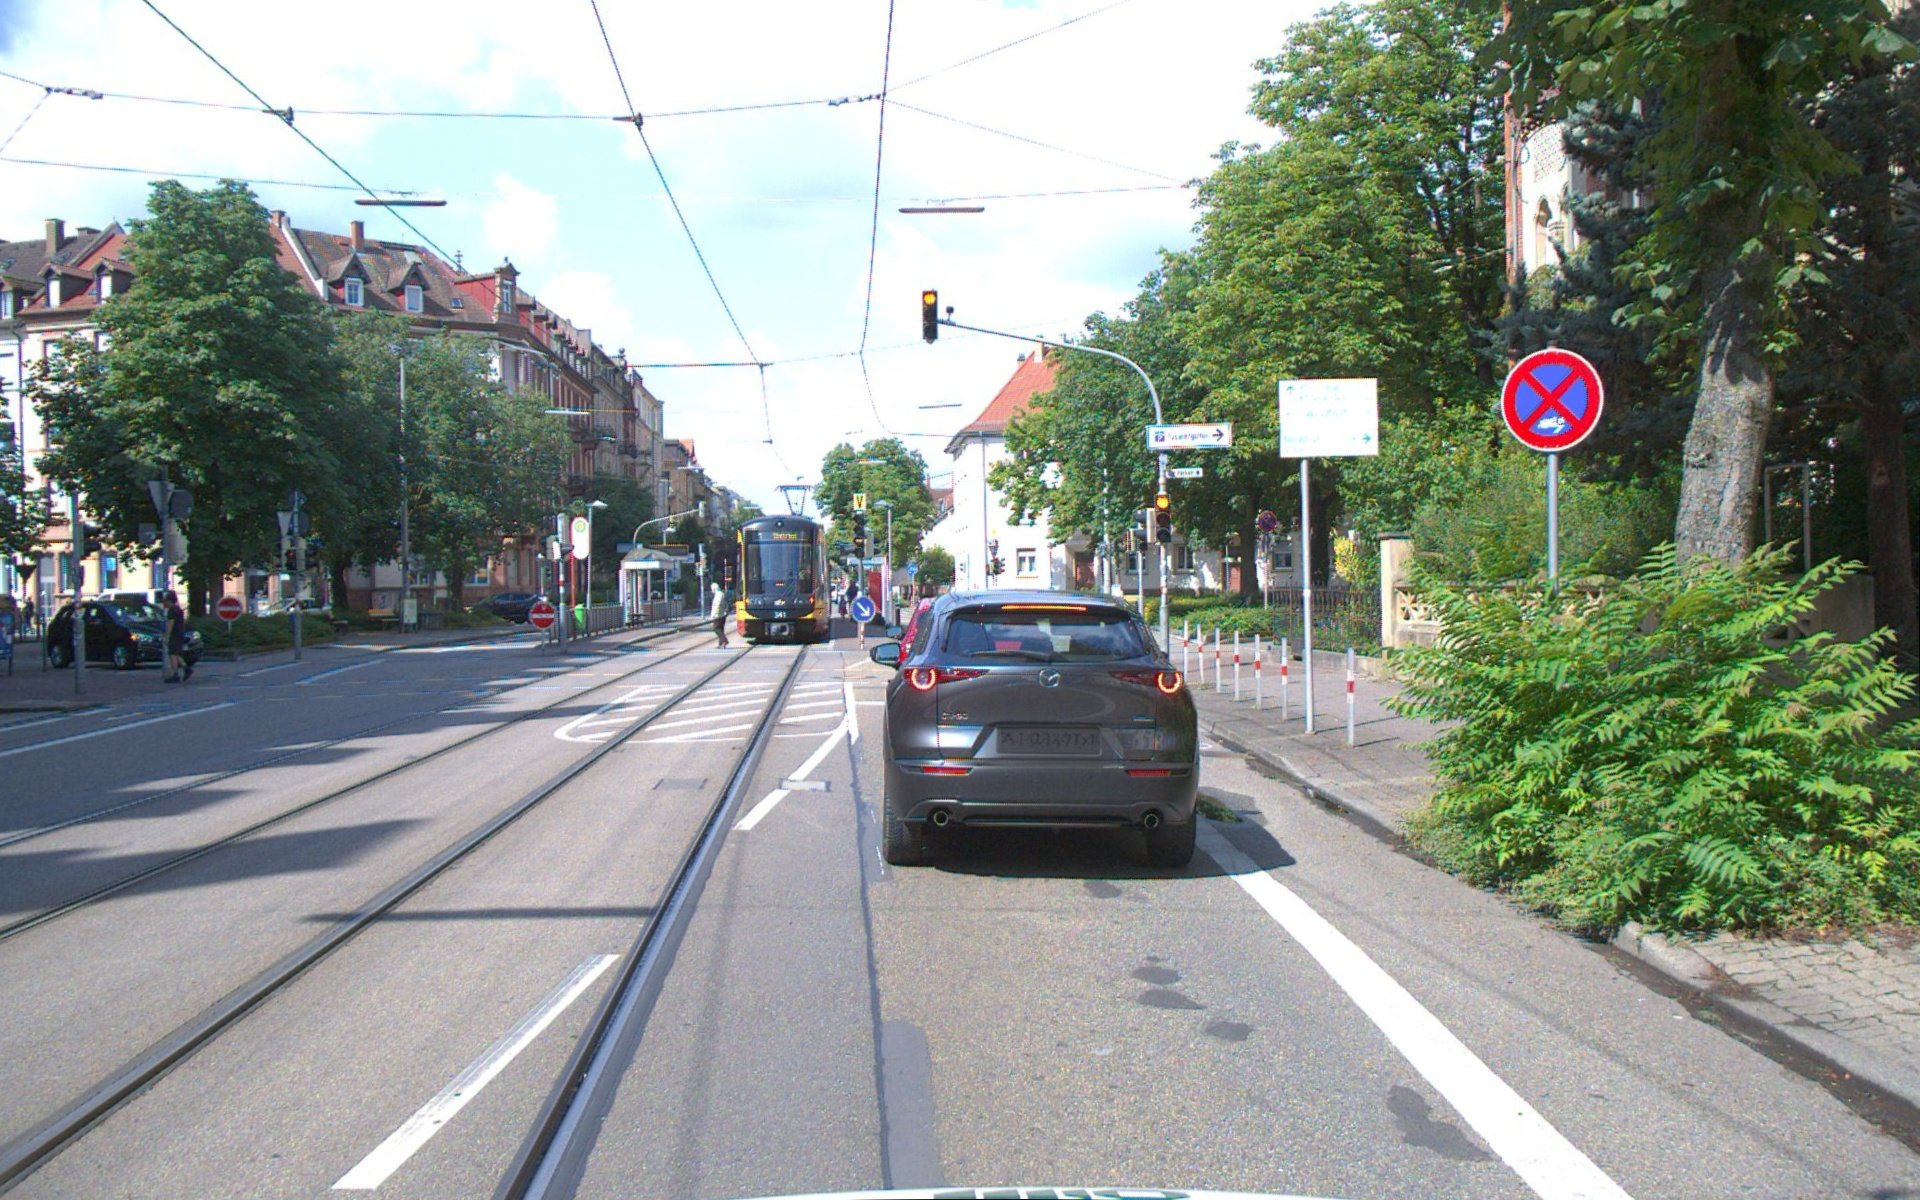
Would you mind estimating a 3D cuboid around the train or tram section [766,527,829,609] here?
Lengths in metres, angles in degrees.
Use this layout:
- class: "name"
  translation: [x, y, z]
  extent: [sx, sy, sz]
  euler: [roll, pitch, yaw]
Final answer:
- class: "train or tram section"
  translation: [-7.759, -1.572, 80.036]
  extent: [2.699, 3.551, 14.395]
  euler: [-1, 1, -5]

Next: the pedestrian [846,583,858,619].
- class: "pedestrian"
  translation: [-4.357, 0.036, 66.919]
  extent: [0.441, 1.459, 0.474]
  euler: [-1, 0, -6]

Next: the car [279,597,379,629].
- class: "car"
  translation: [-28.921, 0.578, 75.891]
  extent: [1.647, 1.384, 3.979]
  euler: [-1, 0, 40]

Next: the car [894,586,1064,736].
- class: "car"
  translation: [0.161, 0.611, 19.139]
  extent: [1.742, 1.526, 3.999]
  euler: [1, 0, -1]

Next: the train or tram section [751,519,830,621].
- class: "train or tram section"
  translation: [-6.584, -1.221, 65.691]
  extent: [2.699, 3.551, 14.395]
  euler: [-1, 1, -5]

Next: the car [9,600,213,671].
- class: "car"
  translation: [-19.719, 0.815, 38.468]
  extent: [3.968, 1.545, 1.763]
  euler: [-1, 0, 12]

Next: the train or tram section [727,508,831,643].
- class: "train or tram section"
  translation: [-5.409, -0.816, 51.353]
  extent: [2.699, 3.551, 14.395]
  euler: [-1, 1, -5]

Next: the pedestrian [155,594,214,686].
- class: "pedestrian"
  translation: [-14.813, 0.760, 31.601]
  extent: [0.735, 1.713, 0.701]
  euler: [-1, 0, 8]

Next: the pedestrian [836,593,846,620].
- class: "pedestrian"
  translation: [-4.809, 0.262, 66.819]
  extent: [0.372, 1.089, 0.474]
  euler: [-1, 0, -4]

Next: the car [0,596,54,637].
- class: "car"
  translation: [-39.393, 0.692, 67.319]
  extent: [3.905, 1.624, 2.000]
  euler: [-1, 0, -1]

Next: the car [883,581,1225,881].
- class: "car"
  translation: [0.448, 0.661, 10.537]
  extent: [1.742, 1.526, 3.999]
  euler: [1, 0, -1]

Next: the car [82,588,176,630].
- class: "car"
  translation: [-39.866, 0.445, 79.334]
  extent: [3.906, 1.937, 1.999]
  euler: [-1, 0, 24]

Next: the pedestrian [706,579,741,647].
- class: "pedestrian"
  translation: [-6.106, 0.337, 42.765]
  extent: [0.701, 1.735, 0.824]
  euler: [-1, 0, 5]
